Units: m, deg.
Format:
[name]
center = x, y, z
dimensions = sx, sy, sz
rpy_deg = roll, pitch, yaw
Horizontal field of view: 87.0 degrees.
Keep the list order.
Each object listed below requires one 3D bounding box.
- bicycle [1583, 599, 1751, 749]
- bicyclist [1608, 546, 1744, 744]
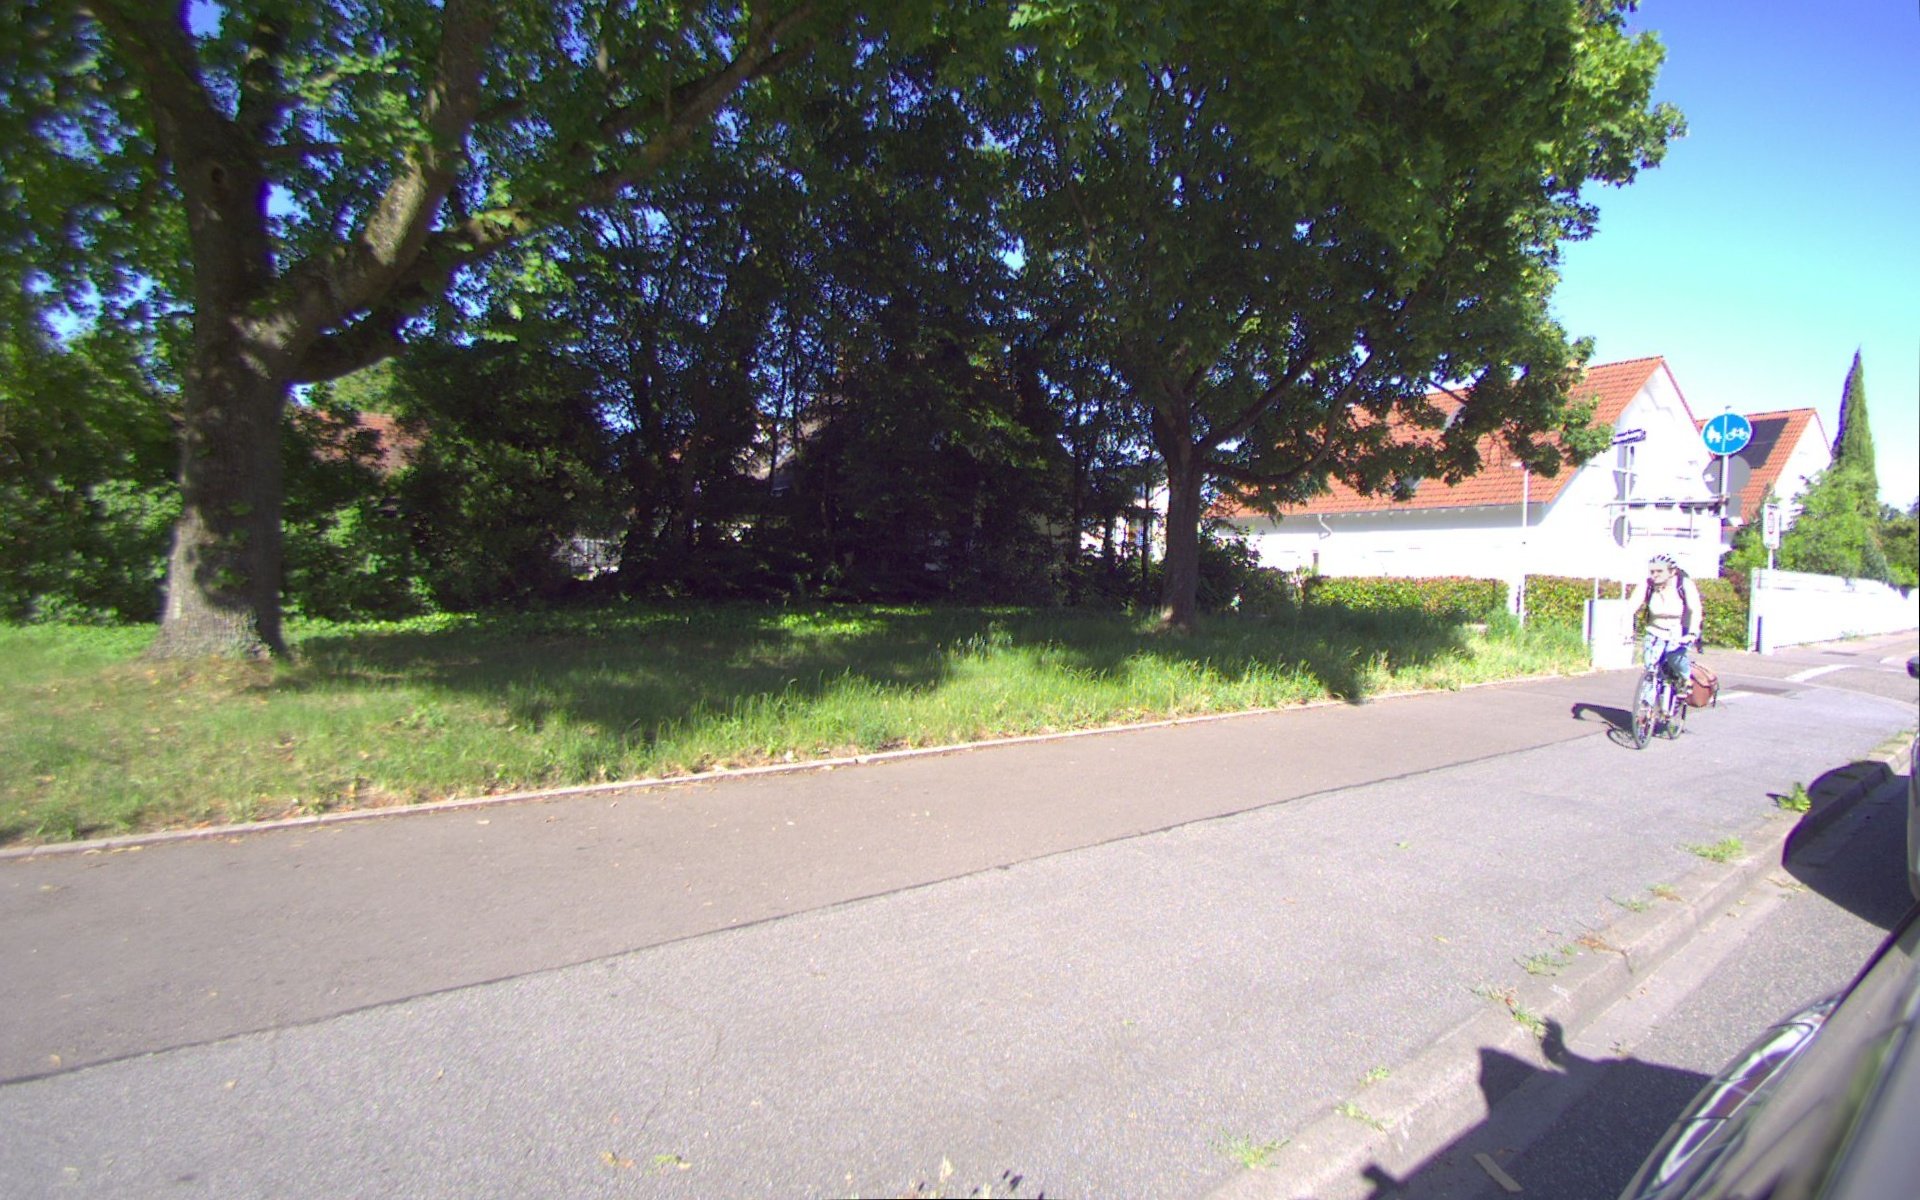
[bicycle]
center = 6.354, 0.608, 9.047
dimensions = 2.101, 1.169, 0.576
rpy_deg = 1, 4, -38
[bicyclist]
center = 6.433, 0.378, 9.090
dimensions = 0.964, 1.652, 0.632
rpy_deg = 1, 4, -38
